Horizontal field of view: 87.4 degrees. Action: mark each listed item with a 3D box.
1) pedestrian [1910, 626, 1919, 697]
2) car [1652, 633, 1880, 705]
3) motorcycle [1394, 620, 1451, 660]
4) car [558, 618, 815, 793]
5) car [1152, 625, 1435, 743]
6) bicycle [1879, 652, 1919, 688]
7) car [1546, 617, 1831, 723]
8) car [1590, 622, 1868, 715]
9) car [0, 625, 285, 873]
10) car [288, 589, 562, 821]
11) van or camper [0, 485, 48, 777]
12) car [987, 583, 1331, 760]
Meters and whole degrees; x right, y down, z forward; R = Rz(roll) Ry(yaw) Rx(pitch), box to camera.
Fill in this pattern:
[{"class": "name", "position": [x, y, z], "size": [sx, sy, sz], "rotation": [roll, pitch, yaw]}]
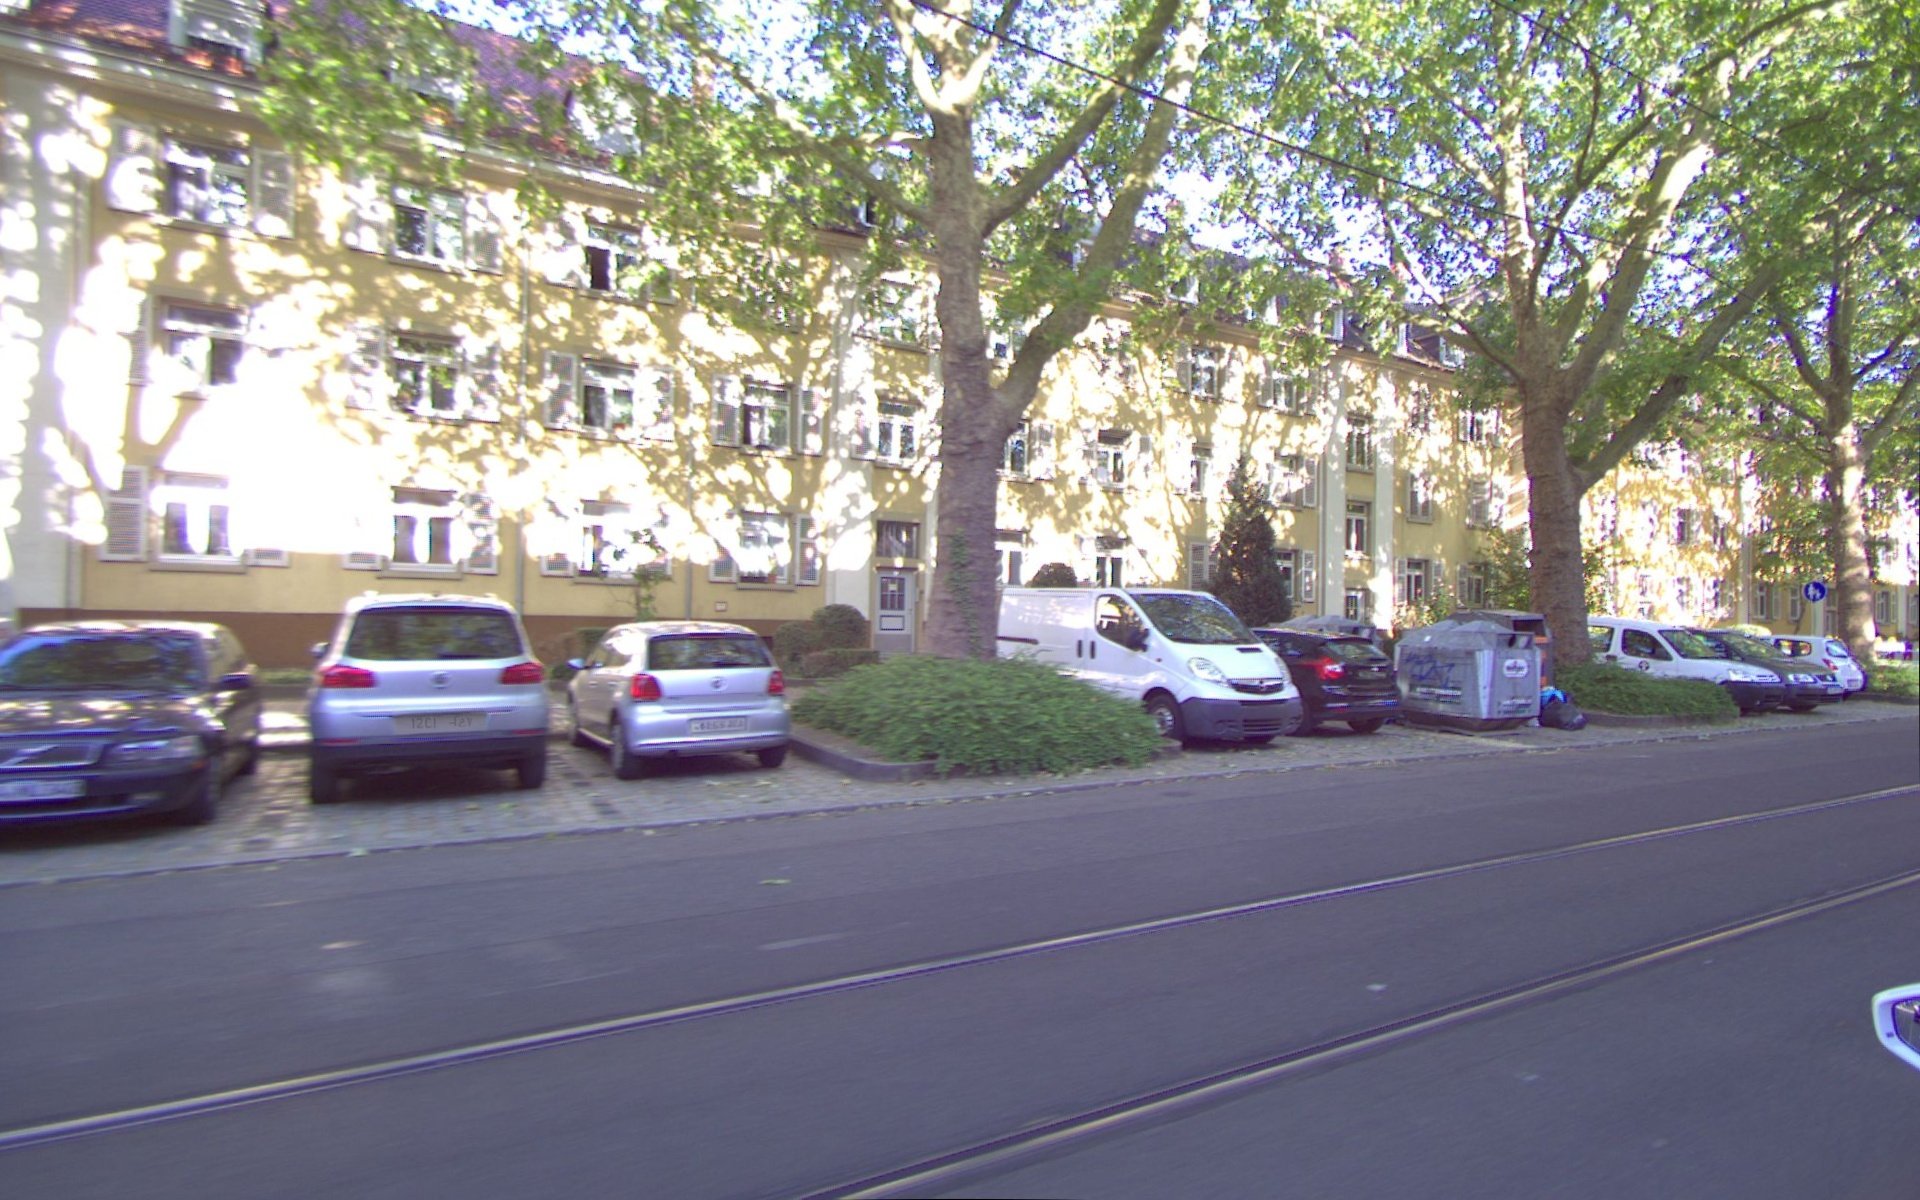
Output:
[{"class": "pedestrian", "position": [24.554, 1.560, 25.205], "size": [0.787, 1.768, 0.818], "rotation": [2, 0, -29]}, {"class": "car", "position": [18.966, 1.558, 23.811], "size": [1.840, 1.517, 3.831], "rotation": [1, -2, -29]}, {"class": "motorcycle", "position": [14.826, 1.273, 32.258], "size": [0.516, 1.257, 1.703], "rotation": [1, -1, -27]}, {"class": "car", "position": [-3.112, 0.979, 10.853], "size": [1.840, 1.517, 3.831], "rotation": [1, -2, -29]}, {"class": "car", "position": [4.821, 1.144, 15.056], "size": [1.840, 1.517, 3.831], "rotation": [1, -2, -29]}, {"class": "bicycle", "position": [27.138, 1.968, 28.122], "size": [0.717, 0.975, 1.964], "rotation": [1, -1, -28]}, {"class": "car", "position": [13.982, 1.260, 19.556], "size": [1.718, 1.781, 4.182], "rotation": [1, -1, -28]}, {"class": "car", "position": [15.808, 1.335, 20.935], "size": [1.905, 1.710, 4.226], "rotation": [1, -2, -22]}, {"class": "car", "position": [-6.450, 0.906, 7.672], "size": [1.732, 1.417, 4.246], "rotation": [1, -2, -29]}, {"class": "car", "position": [-4.977, 0.822, 9.430], "size": [1.840, 1.685, 3.831], "rotation": [1, -2, -29]}, {"class": "van or camper", "position": [-8.722, 0.246, 6.866], "size": [2.415, 2.549, 5.366], "rotation": [1, -1, -29]}, {"class": "car", "position": [2.461, 0.817, 13.665], "size": [1.940, 1.971, 4.631], "rotation": [1, -1, -32]}]
